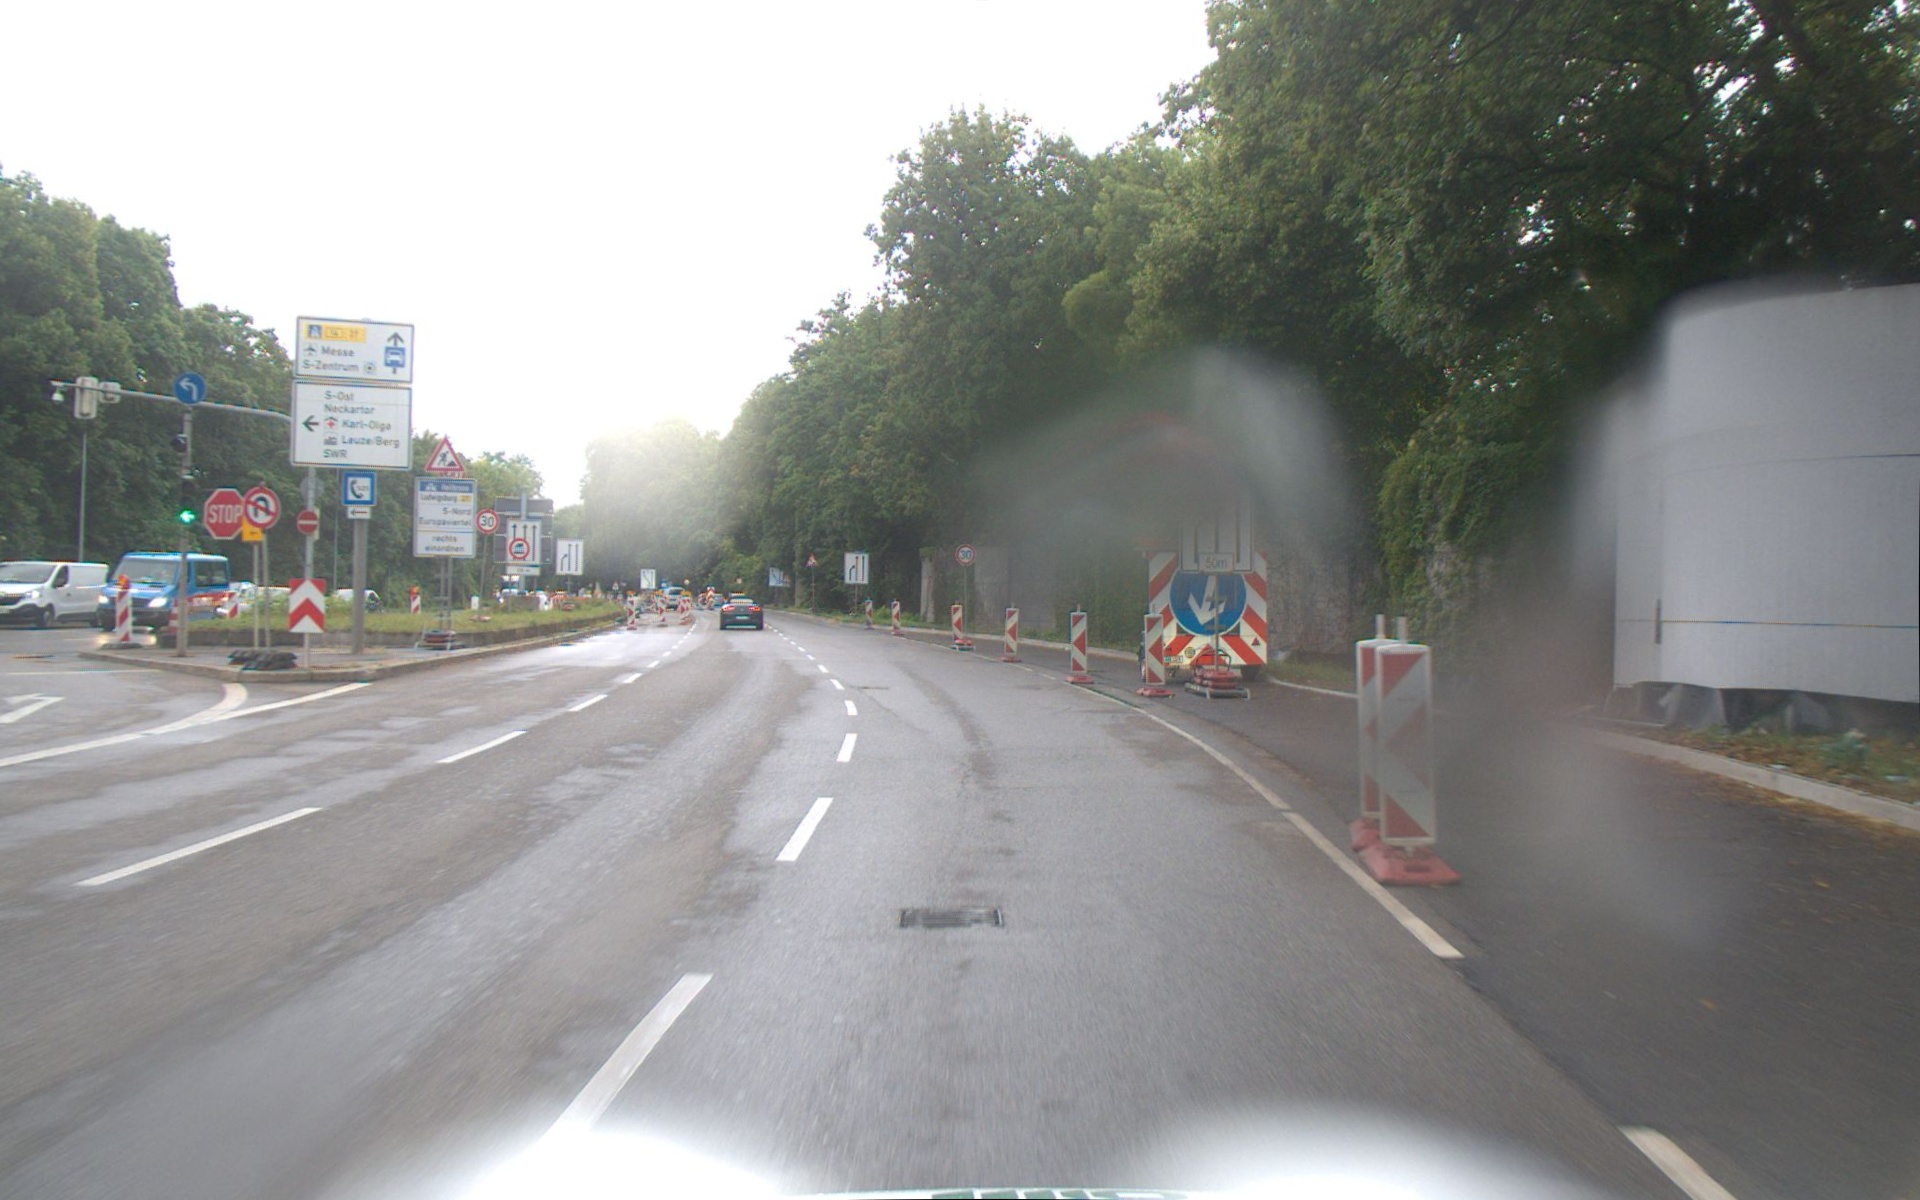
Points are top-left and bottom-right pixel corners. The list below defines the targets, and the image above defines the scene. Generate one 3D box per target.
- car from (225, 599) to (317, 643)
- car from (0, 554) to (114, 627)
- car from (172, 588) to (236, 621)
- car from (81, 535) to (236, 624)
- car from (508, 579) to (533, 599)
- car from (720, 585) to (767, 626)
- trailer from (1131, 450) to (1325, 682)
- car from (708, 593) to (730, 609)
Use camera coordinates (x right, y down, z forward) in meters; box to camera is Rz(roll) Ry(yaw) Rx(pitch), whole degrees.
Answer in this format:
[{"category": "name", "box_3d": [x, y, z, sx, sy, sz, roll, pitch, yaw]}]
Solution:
[{"category": "car", "box_3d": [-20.588, 0.603, 49.575, 1.521, 1.221, 4.635, 1, 0, -10]}, {"category": "car", "box_3d": [-27.028, -0.302, 48.759, 1.995, 2.008, 4.984, 2, 1, -6]}, {"category": "car", "box_3d": [-27.653, 0.159, 60.559, 1.246, 1.104, 2.789, 2, 1, -6]}, {"category": "car", "box_3d": [-23.906, -0.633, 49.628, 2.153, 2.432, 6.236, 2, 1, -6]}, {"category": "car", "box_3d": [-42.800, -1.091, 161.198, 1.879, 1.812, 4.822, 1, 1, -10]}, {"category": "car", "box_3d": [-9.245, 0.216, 70.769, 1.826, 1.517, 3.996, 2, 2, -6]}, {"category": "trailer", "box_3d": [4.533, -0.530, 29.029, 2.261, 3.652, 5.957, 0, 0, -2]}, {"category": "car", "box_3d": [-25.315, 0.094, 173.546, 1.830, 1.517, 3.987, 2, 2, -14]}]
